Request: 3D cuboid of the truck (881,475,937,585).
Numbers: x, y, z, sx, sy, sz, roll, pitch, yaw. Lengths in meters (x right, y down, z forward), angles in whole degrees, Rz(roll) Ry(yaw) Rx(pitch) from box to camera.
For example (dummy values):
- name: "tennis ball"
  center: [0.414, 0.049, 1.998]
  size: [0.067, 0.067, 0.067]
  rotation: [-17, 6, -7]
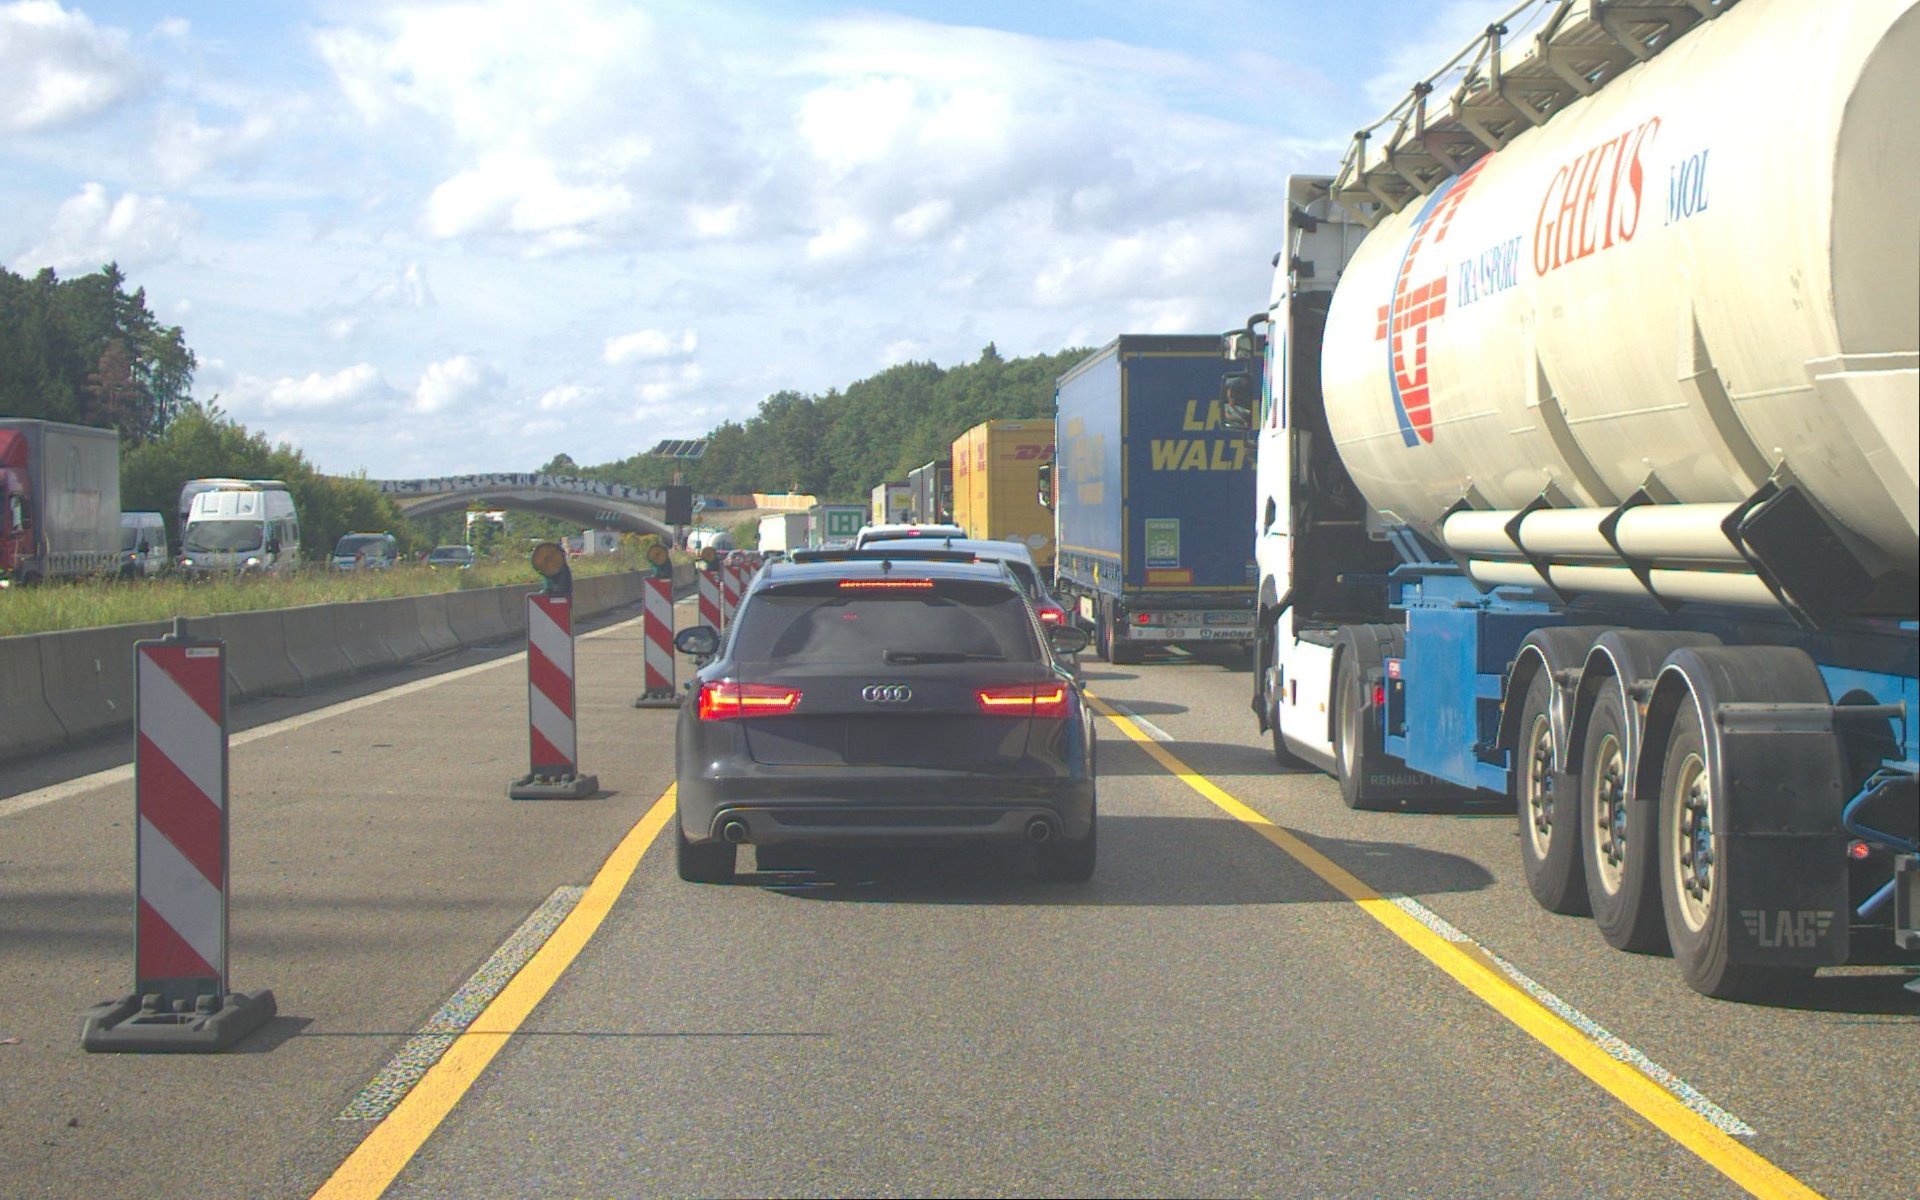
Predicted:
- name: "truck"
  center: [-2.067, -2.760, 137.559]
  size: [2.137, 4.243, 7.072]
  rotation: [1, 0, -1]

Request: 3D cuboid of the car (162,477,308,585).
- name: "car"
  center: [-17.059, -1.625, 81.234]
  size: [2.160, 2.443, 6.332]
  rotation: [1, 1, -1]

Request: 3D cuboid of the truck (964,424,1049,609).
- name: "truck"
  center: [0.983, -1.789, 74.899]
  size: [1.609, 3.883, 4.072]
  rotation: [1, 0, -2]

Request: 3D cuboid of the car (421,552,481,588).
- name: "car"
  center: [-20.236, -1.175, 136.733]
  size: [1.779, 1.382, 4.310]
  rotation: [1, 0, -1]

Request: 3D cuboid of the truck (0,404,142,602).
- name: "truck"
  center: [-20.210, -2.057, 74.209]
  size: [2.800, 3.978, 10.186]
  rotation: [1, 1, -1]

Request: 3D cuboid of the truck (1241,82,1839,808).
- name: "truck"
  center: [3.430, -0.877, 21.823]
  size: [2.659, 3.958, 5.779]
  rotation: [1, 0, -1]

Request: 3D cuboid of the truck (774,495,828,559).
- name: "truck"
  center: [-10.703, -4.884, 230.665]
  size: [3.303, 4.160, 9.704]
  rotation: [1, 1, -4]

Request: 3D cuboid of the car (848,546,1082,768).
- name: "car"
  center: [0.007, 0.359, 24.252]
  size: [1.524, 1.434, 3.285]
  rotation: [1, 0, -1]

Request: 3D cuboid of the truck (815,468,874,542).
- name: "truck"
  center: [-6.763, -5.488, 200.275]
  size: [3.303, 4.160, 9.703]
  rotation: [0, 1, -3]

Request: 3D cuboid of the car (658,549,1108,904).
- name: "car"
  center: [-0.348, 0.506, 16.189]
  size: [1.848, 1.458, 4.000]
  rotation: [0, 0, -1]

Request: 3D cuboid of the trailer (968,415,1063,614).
- name: "trailer"
  center: [1.110, -1.711, 71.195]
  size: [1.616, 3.905, 6.490]
  rotation: [1, 0, -2]

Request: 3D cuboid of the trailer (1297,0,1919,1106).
- name: "trailer"
  center: [3.548, -0.765, 14.962]
  size: [2.644, 3.929, 12.598]
  rotation: [1, 1, -1]

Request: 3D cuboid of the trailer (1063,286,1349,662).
- name: "trailer"
  center: [3.065, -1.529, 45.793]
  size: [2.805, 4.398, 10.433]
  rotation: [1, 0, -1]

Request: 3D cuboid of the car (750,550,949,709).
- name: "car"
  center: [-1.011, 0.246, 32.457]
  size: [1.751, 1.392, 3.608]
  rotation: [1, 0, -1]

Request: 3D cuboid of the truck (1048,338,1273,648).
- name: "truck"
  center: [2.949, -1.553, 52.754]
  size: [2.806, 4.354, 7.792]
  rotation: [1, 0, -1]

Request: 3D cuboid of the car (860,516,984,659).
- name: "car"
  center: [-0.518, -0.179, 46.096]
  size: [1.581, 1.830, 3.112]
  rotation: [1, 0, -1]

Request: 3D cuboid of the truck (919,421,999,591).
- name: "truck"
  center: [-0.096, -2.807, 104.229]
  size: [1.993, 4.897, 9.563]
  rotation: [1, 1, -2]
